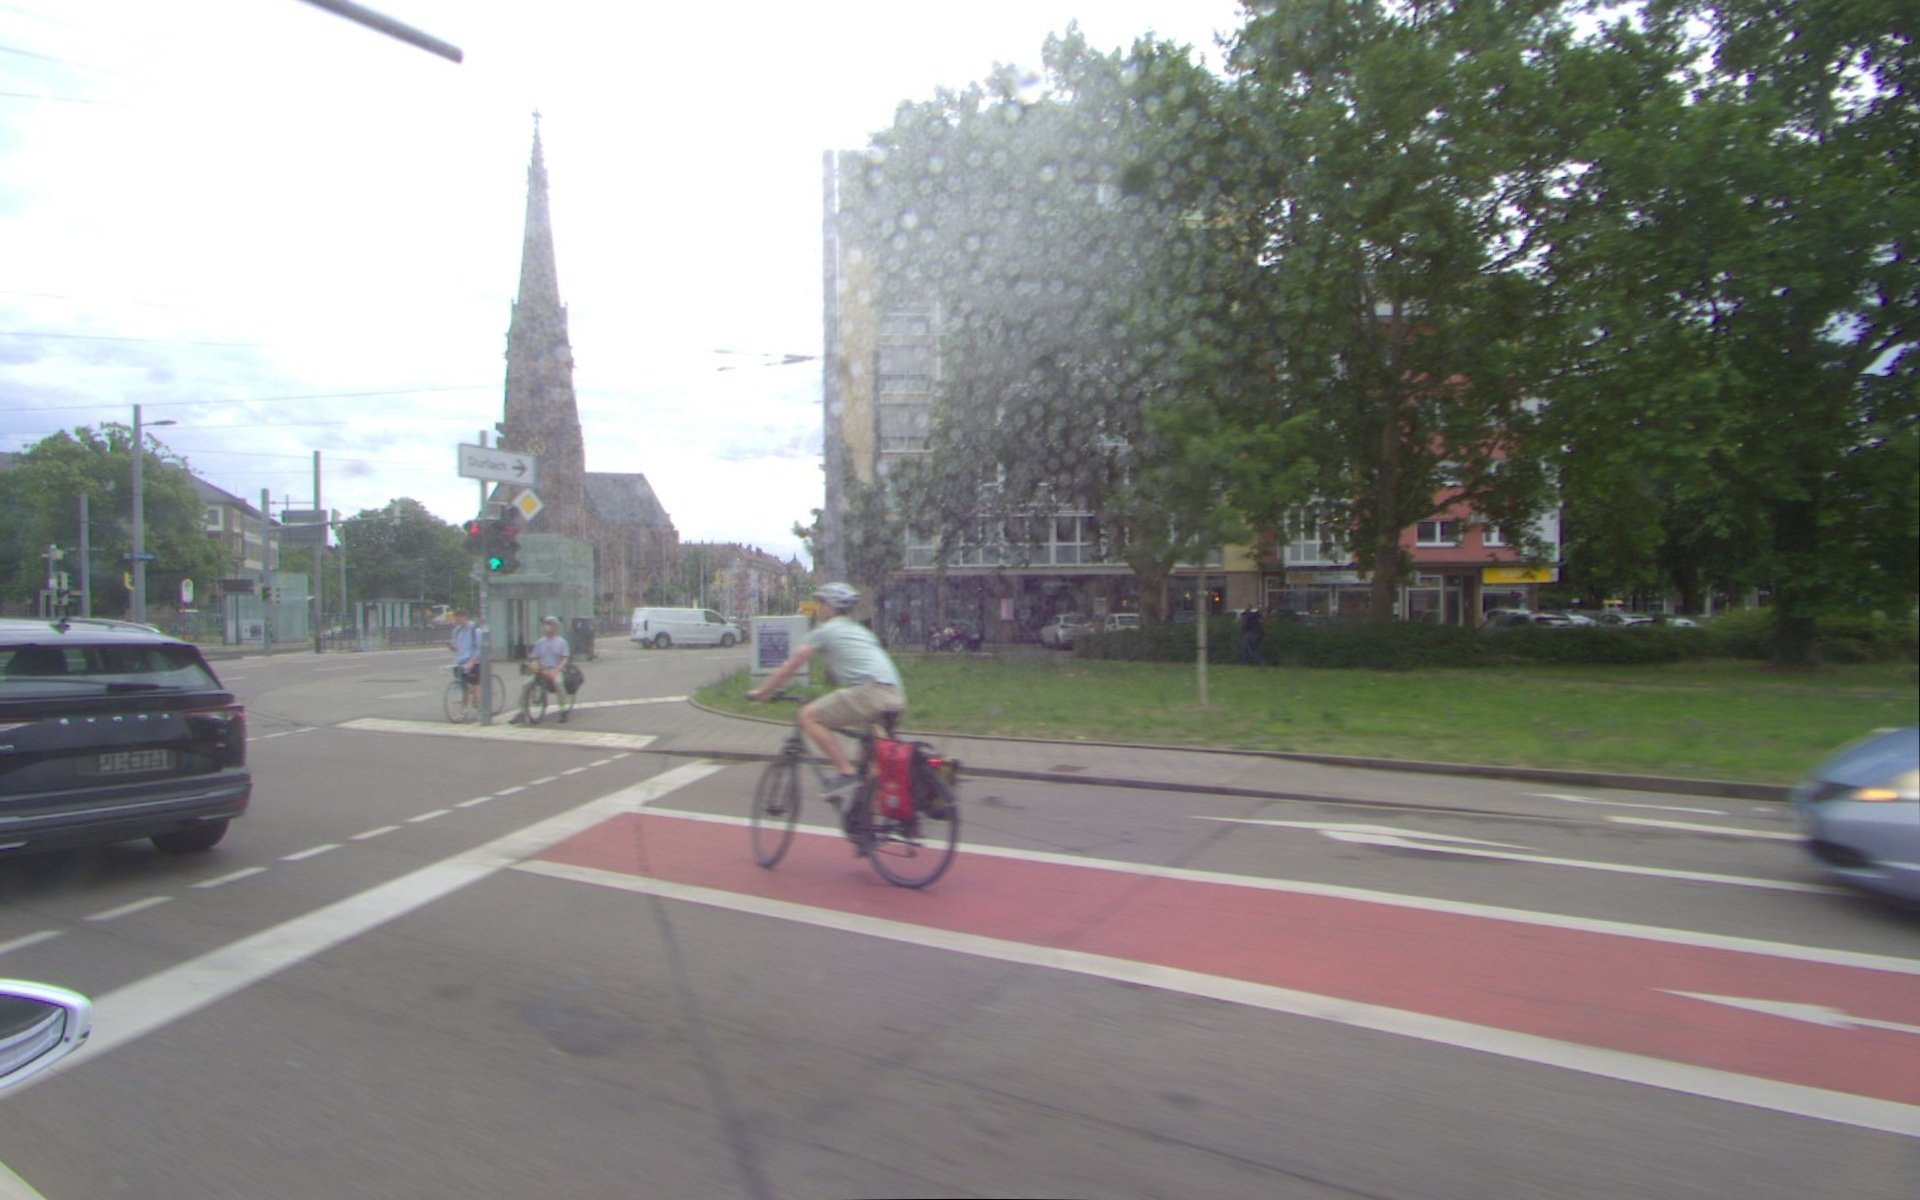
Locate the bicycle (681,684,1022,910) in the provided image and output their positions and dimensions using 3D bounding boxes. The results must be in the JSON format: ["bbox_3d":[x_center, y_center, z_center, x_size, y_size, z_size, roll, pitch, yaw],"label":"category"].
[{"bbox_3d":[-0.683,1.098,6.059,1.986,1.092,0.760,-1,-2,29],"label":"bicycle"}]

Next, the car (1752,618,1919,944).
[{"bbox_3d":[6.240,0.840,4.567,3.874,1.502,1.703,-1,-2,30],"label":"car"}]

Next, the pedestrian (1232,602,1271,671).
[{"bbox_3d":[7.983,0.987,27.430,0.881,1.843,0.866,0,1,7],"label":"pedestrian"}]

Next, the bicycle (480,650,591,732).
[{"bbox_3d":[-6.621,1.388,15.734,0.590,1.012,1.943,0,3,11],"label":"bicycle"}]

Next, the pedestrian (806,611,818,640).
[{"bbox_3d":[-9.081,1.573,61.412,0.606,1.738,0.823,-1,1,-12],"label":"pedestrian"}]

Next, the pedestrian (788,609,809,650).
[{"bbox_3d":[-7.047,1.258,43.690,0.797,1.760,0.906,0,1,-3],"label":"pedestrian"}]

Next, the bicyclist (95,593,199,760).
[{"bbox_3d":[-8.691,0.786,10.715,0.793,1.713,0.615,0,0,29],"label":"bicyclist"}]

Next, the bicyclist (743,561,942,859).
[{"bbox_3d":[-0.701,0.624,6.092,0.919,1.639,0.788,0,-1,29],"label":"bicyclist"}]

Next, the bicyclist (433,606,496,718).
[{"bbox_3d":[-8.058,0.994,16.305,0.574,1.775,0.734,0,2,5],"label":"bicyclist"}]

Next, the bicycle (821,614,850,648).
[{"bbox_3d":[-5.412,1.333,43.727,0.886,1.395,2.784,0,0,1],"label":"bicycle"}]

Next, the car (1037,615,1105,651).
[{"bbox_3d":[4.723,1.378,43.150,1.962,1.483,3.998,0,-1,-8],"label":"car"}]

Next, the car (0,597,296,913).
[{"bbox_3d":[-6.823,0.849,6.849,4.444,1.680,1.902,-1,0,28],"label":"car"}]

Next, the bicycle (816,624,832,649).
[{"bbox_3d":[-6.700,1.788,49.501,0.657,1.184,2.040,0,0,-4],"label":"bicycle"}]

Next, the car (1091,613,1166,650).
[{"bbox_3d":[7.260,1.312,43.503,1.962,1.461,3.996,-1,0,-10],"label":"car"}]

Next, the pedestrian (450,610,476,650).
[{"bbox_3d":[-20.784,1.243,41.883,0.889,1.665,0.782,-1,0,-24],"label":"pedestrian"}]

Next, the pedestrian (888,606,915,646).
[{"bbox_3d":[-2.661,1.171,45.688,1.032,1.780,0.785,-1,1,-23],"label":"pedestrian"}]

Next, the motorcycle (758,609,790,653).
[{"bbox_3d":[-6.242,1.028,33.715,1.027,1.384,2.291,-1,0,-10],"label":"motorcycle"}]

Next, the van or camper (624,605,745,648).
[{"bbox_3d":[-13.653,1.276,49.862,5.406,2.004,2.154,0,-1,-41],"label":"van or camper"}]

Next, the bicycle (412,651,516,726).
[{"bbox_3d":[-8.056,1.411,16.365,0.568,1.012,1.991,0,1,5],"label":"bicycle"}]

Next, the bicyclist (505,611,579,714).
[{"bbox_3d":[-6.597,0.963,15.833,0.659,1.543,0.885,0,2,11],"label":"bicyclist"}]

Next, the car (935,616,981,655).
[{"bbox_3d":[-0.128,1.460,42.158,1.806,1.462,4.166,-1,0,-2],"label":"car"}]

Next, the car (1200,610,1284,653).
[{"bbox_3d":[12.160,1.339,43.465,1.962,1.746,3.998,0,-1,-10],"label":"car"}]
